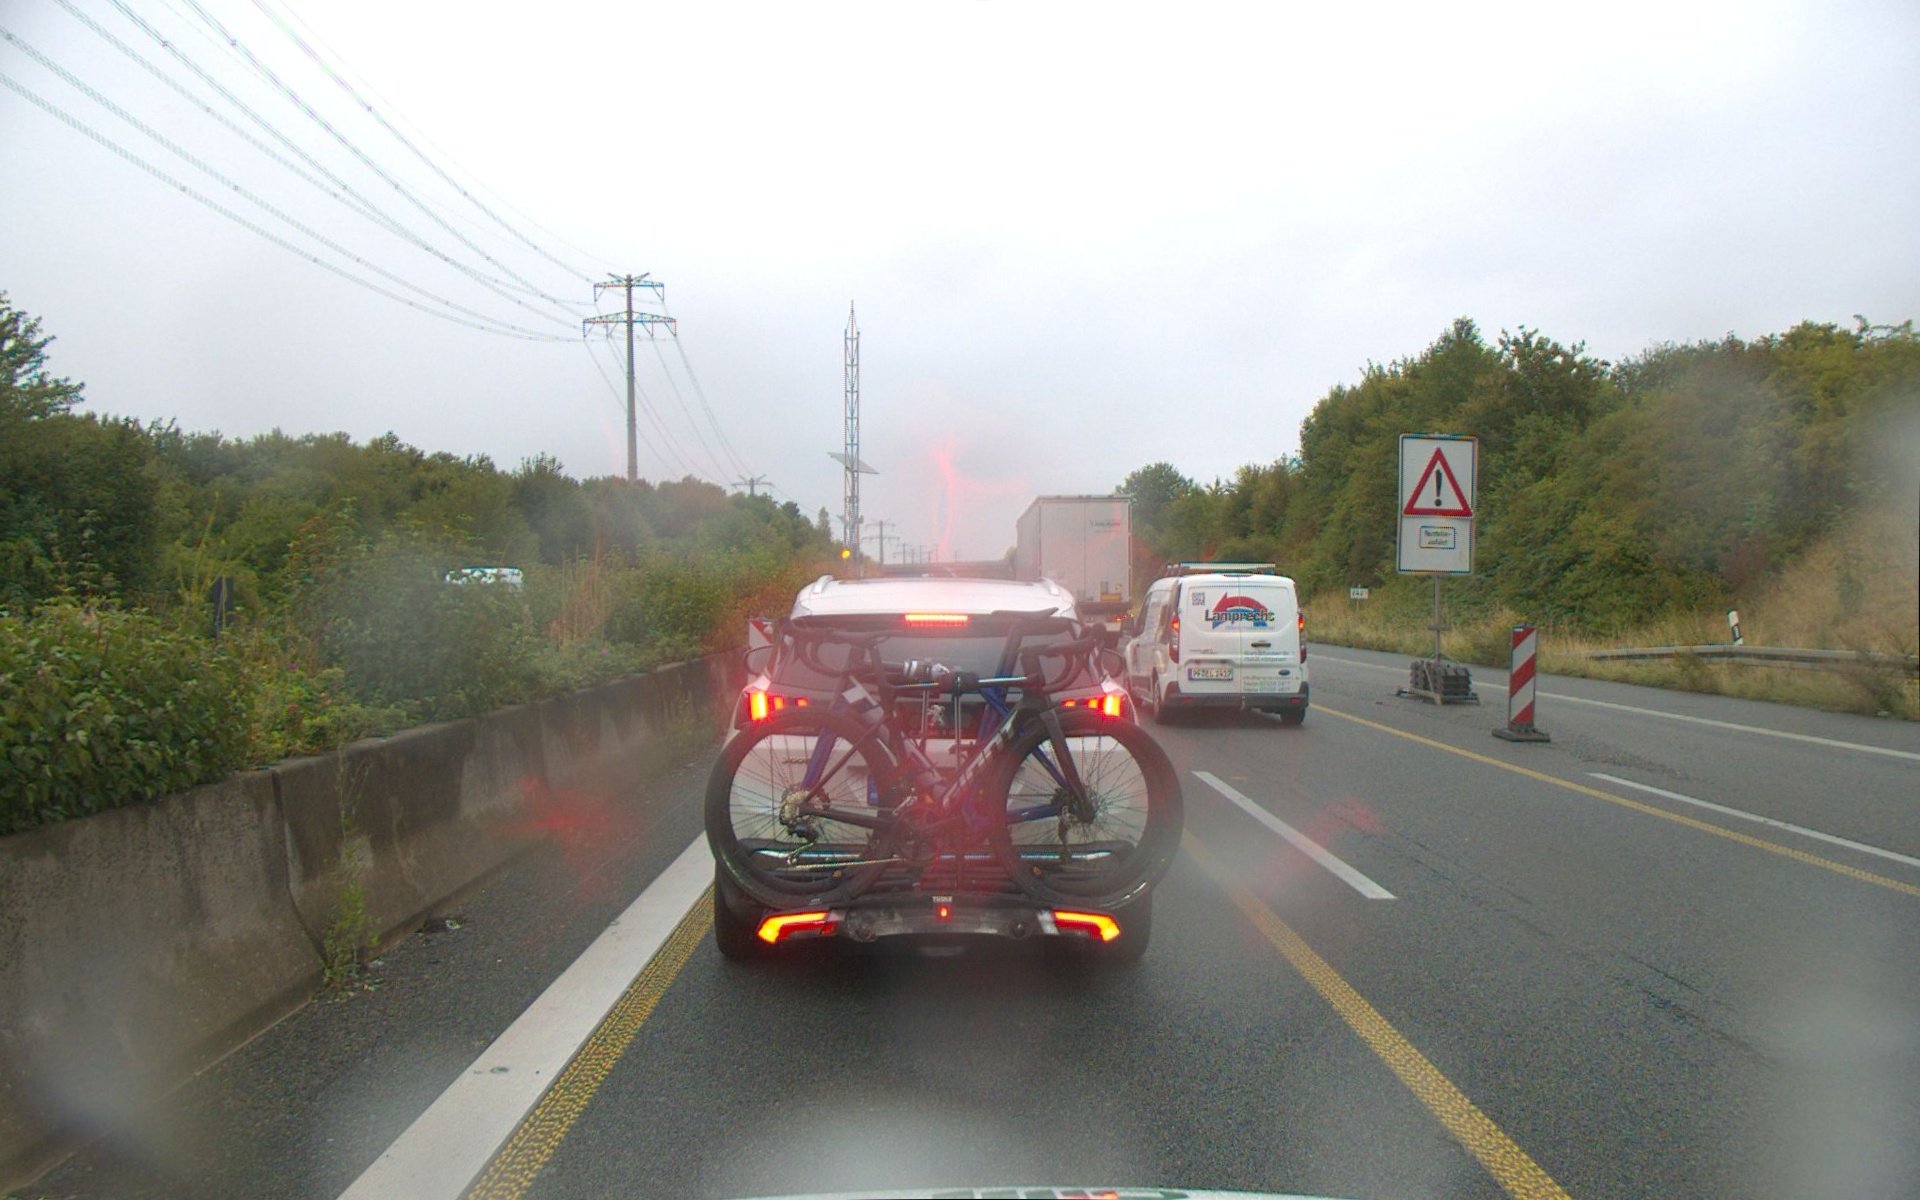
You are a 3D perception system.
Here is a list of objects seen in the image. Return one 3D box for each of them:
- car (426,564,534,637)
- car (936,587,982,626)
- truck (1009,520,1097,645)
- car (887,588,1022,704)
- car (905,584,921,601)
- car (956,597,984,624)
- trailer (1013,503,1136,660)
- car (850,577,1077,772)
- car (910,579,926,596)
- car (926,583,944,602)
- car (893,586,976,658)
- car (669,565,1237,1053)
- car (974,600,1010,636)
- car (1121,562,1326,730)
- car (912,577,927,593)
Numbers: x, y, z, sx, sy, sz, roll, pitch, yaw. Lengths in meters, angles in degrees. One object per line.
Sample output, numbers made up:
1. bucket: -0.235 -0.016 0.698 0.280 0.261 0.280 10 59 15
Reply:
1. car: -15.928 0.011 55.183 2.136 2.304 5.203 0 0 -1
2. car: -0.059 0.237 67.802 1.812 1.557 3.999 0 0 -1
3. truck: 3.181 -0.600 58.036 2.606 4.148 6.538 0 0 -1
4. car: -0.104 0.616 24.351 1.812 1.557 3.999 0 0 -1
5. car: -5.851 -0.927 206.207 1.892 2.008 4.000 0 1 -1
6. car: 0.758 0.786 129.605 2.104 2.008 4.000 0 1 -1
7. trailer: 3.252 -0.518 50.731 2.638 4.148 13.631 0 0 -1
8. car: 0.003 0.588 15.293 1.812 1.557 3.999 0 0 -1
9. car: -5.093 -1.484 199.164 1.892 1.944 4.000 0 1 -1
10. car: -2.739 -0.854 179.828 1.892 2.008 4.000 0 1 -1
11. car: -0.591 0.472 38.166 1.812 1.557 3.999 0 0 -1
12. car: -0.053 0.659 7.684 1.812 1.557 4.768 0 0 -1
13. car: 1.904 1.075 99.942 2.067 2.008 4.000 0 1 -1
14. car: 3.190 0.508 20.932 1.792 1.871 4.654 0 0 -1
15. car: -5.235 -1.971 212.003 1.892 2.008 4.000 0 1 -1
